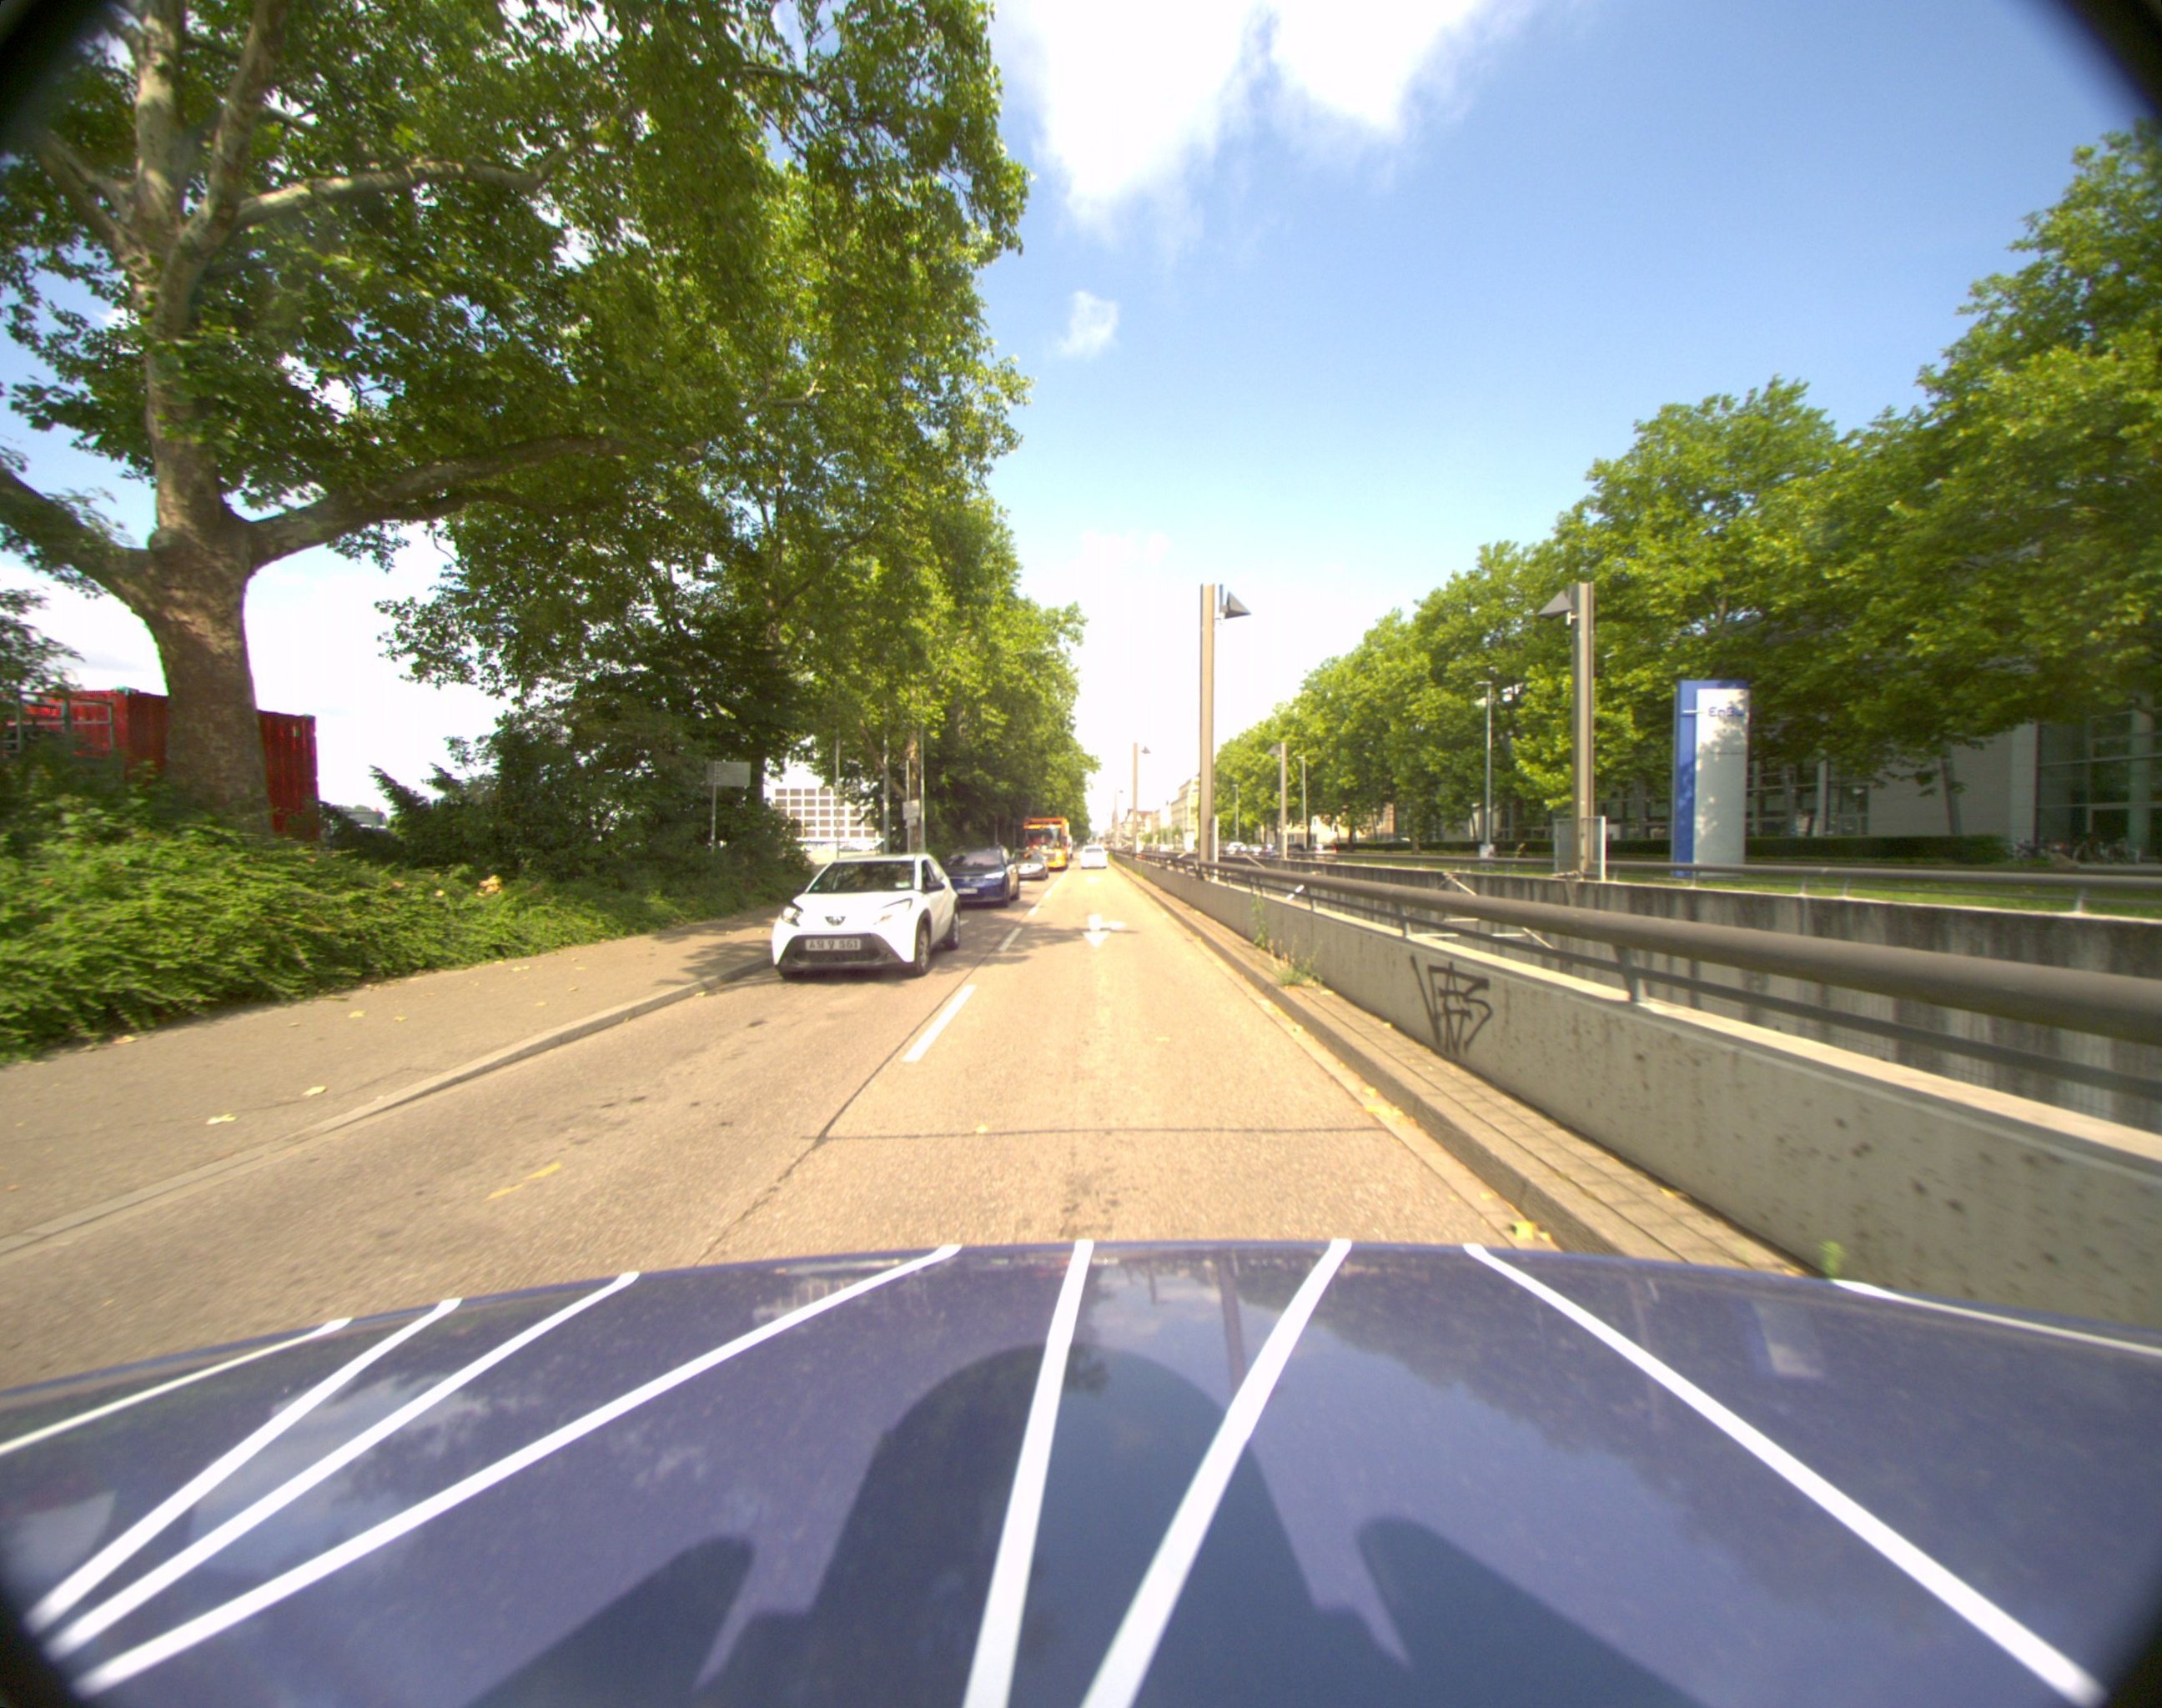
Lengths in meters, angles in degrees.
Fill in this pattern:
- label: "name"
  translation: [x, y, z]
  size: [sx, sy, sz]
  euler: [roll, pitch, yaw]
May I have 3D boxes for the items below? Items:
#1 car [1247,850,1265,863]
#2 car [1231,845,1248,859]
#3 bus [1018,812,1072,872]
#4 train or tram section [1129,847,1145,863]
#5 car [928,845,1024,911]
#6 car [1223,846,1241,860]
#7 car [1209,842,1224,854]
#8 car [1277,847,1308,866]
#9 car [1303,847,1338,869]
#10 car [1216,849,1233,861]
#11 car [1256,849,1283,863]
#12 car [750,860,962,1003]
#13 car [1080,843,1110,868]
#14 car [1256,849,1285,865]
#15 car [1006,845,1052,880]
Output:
- label: "car"
  translation: [16.306, 0.224, 70.891]
  size: [1.181, 1.236, 2.549]
  euler: [0, 0, 0]
- label: "car"
  translation: [16.009, -0.221, 76.898]
  size: [1.167, 1.368, 2.745]
  euler: [1, 0, 1]
- label: "bus"
  translation: [-2.178, -0.719, 49.476]
  size: [2.744, 3.445, 10.395]
  euler: [-1, 0, 1]
- label: "train or tram section"
  translation: [9.304, 0.147, 126.040]
  size: [2.216, 2.444, 6.249]
  euler: [-1, 0, 1]
- label: "car"
  translation: [-2.708, 0.610, 20.686]
  size: [1.891, 1.566, 4.581]
  euler: [-1, -1, 1]
- label: "car"
  translation: [16.071, -0.101, 80.940]
  size: [1.309, 1.368, 3.185]
  euler: [1, 0, 1]
- label: "car"
  translation: [16.344, -0.680, 91.511]
  size: [1.309, 1.368, 3.185]
  euler: [1, 0, 1]
- label: "car"
  translation: [16.556, 0.190, 59.567]
  size: [1.582, 1.425, 3.157]
  euler: [1, 0, 1]
- label: "car"
  translation: [16.580, 0.280, 52.682]
  size: [1.420, 1.447, 3.157]
  euler: [1, 0, 1]
- label: "car"
  translation: [16.284, 0.102, 86.334]
  size: [1.309, 1.368, 3.185]
  euler: [1, 0, 1]
- label: "car"
  translation: [16.451, 0.179, 66.434]
  size: [1.611, 1.198, 3.128]
  euler: [1, 0, 0]
- label: "car"
  translation: [-2.752, 0.865, 10.212]
  size: [1.749, 1.471, 3.798]
  euler: [-1, 1, -1]
- label: "car"
  translation: [0.907, 0.081, 49.776]
  size: [1.737, 1.477, 3.601]
  euler: [-4, 1, -1]
- label: "car"
  translation: [16.612, 0.258, 66.696]
  size: [1.579, 1.368, 3.896]
  euler: [1, 0, 1]
- label: "car"
  translation: [-2.334, 0.383, 34.976]
  size: [1.771, 1.455, 4.000]
  euler: [-1, 0, 1]
